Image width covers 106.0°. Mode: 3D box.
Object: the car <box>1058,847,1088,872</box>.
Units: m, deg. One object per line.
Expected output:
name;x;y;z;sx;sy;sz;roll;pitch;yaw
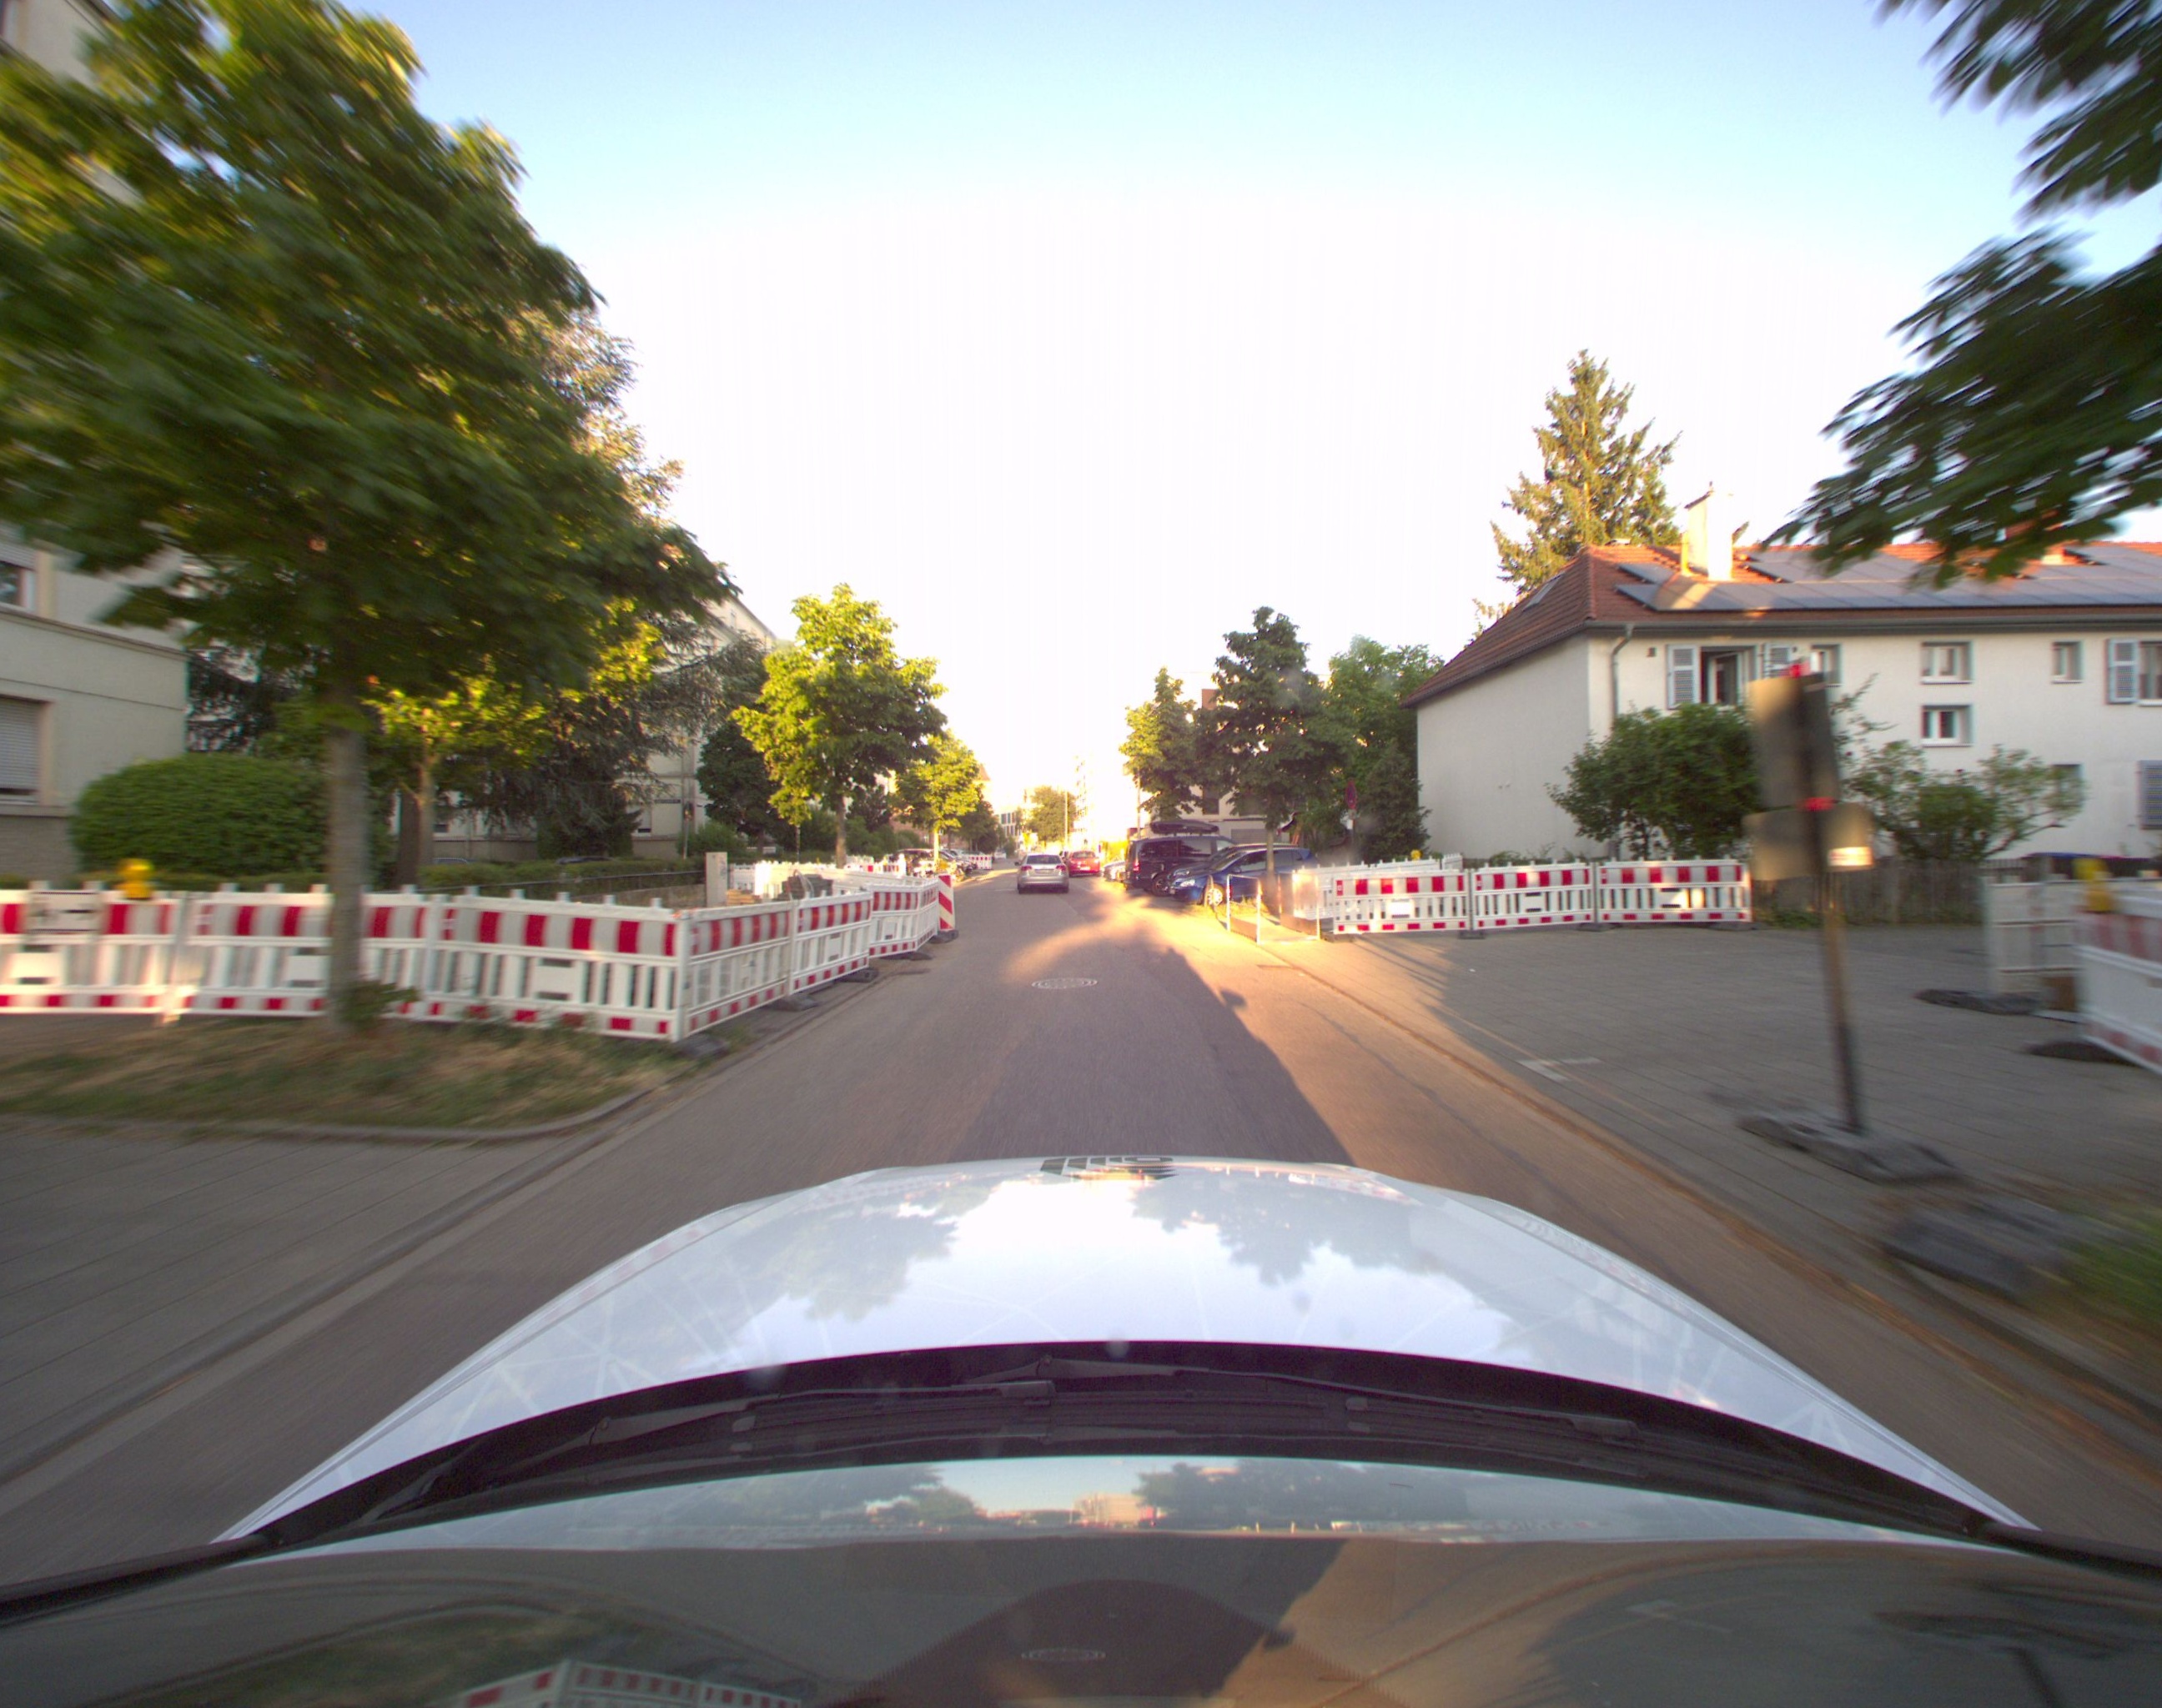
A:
car;-0.586;0.326;54.887;1.805;1.612;3.576;0;1;-4

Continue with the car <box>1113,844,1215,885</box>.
car;3.463;0.403;34.293;3.940;1.649;1.970;0;0;-10

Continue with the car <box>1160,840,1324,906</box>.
car;4.264;0.467;21.816;3.987;1.651;1.759;0;0;-10

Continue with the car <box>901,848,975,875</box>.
car;-8.054;0.427;46.250;3.983;1.480;1.995;0;1;-7

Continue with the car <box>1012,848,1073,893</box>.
car;-1.455;0.530;29.271;1.806;1.488;3.989;-1;0;-8

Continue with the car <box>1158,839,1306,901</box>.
car;4.474;0.439;24.532;3.983;1.768;1.995;0;0;-7

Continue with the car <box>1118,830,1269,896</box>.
car;3.650;0.268;26.856;4.554;2.023;2.096;-1;1;-8

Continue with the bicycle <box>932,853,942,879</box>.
bicycle;-6.927;0.561;39.223;0.405;1.227;1.982;0;1;-7

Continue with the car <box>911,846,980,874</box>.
car;-8.092;0.348;48.971;3.983;1.605;1.868;0;0;-7

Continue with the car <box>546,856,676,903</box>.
car;-17.261;0.906;30.067;3.705;1.589;1.757;0;1;-9

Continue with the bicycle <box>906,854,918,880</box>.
bicycle;-8.113;0.607;39.023;0.405;1.227;1.982;0;1;-7

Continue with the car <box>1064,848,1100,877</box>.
car;0.032;0.434;44.536;1.726;1.483;3.553;0;1;-4

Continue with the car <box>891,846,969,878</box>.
car;-8.056;0.397;43.738;3.983;1.625;1.995;0;0;-7

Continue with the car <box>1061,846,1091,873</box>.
car;-0.327;0.296;50.087;1.660;1.573;3.436;0;1;-4

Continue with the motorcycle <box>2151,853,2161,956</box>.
motorcycle;11.469;0.549;7.935;0.573;1.105;1.858;0;1;29

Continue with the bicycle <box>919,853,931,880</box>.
bicycle;-7.503;0.597;39.180;0.405;1.227;1.982;0;1;-7

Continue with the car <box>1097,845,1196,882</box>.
car;2.941;0.392;36.708;4.150;1.572;1.792;0;0;-10

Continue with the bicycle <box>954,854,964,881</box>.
bicycle;-5.880;0.624;39.160;0.406;1.227;1.980;0;1;-10
